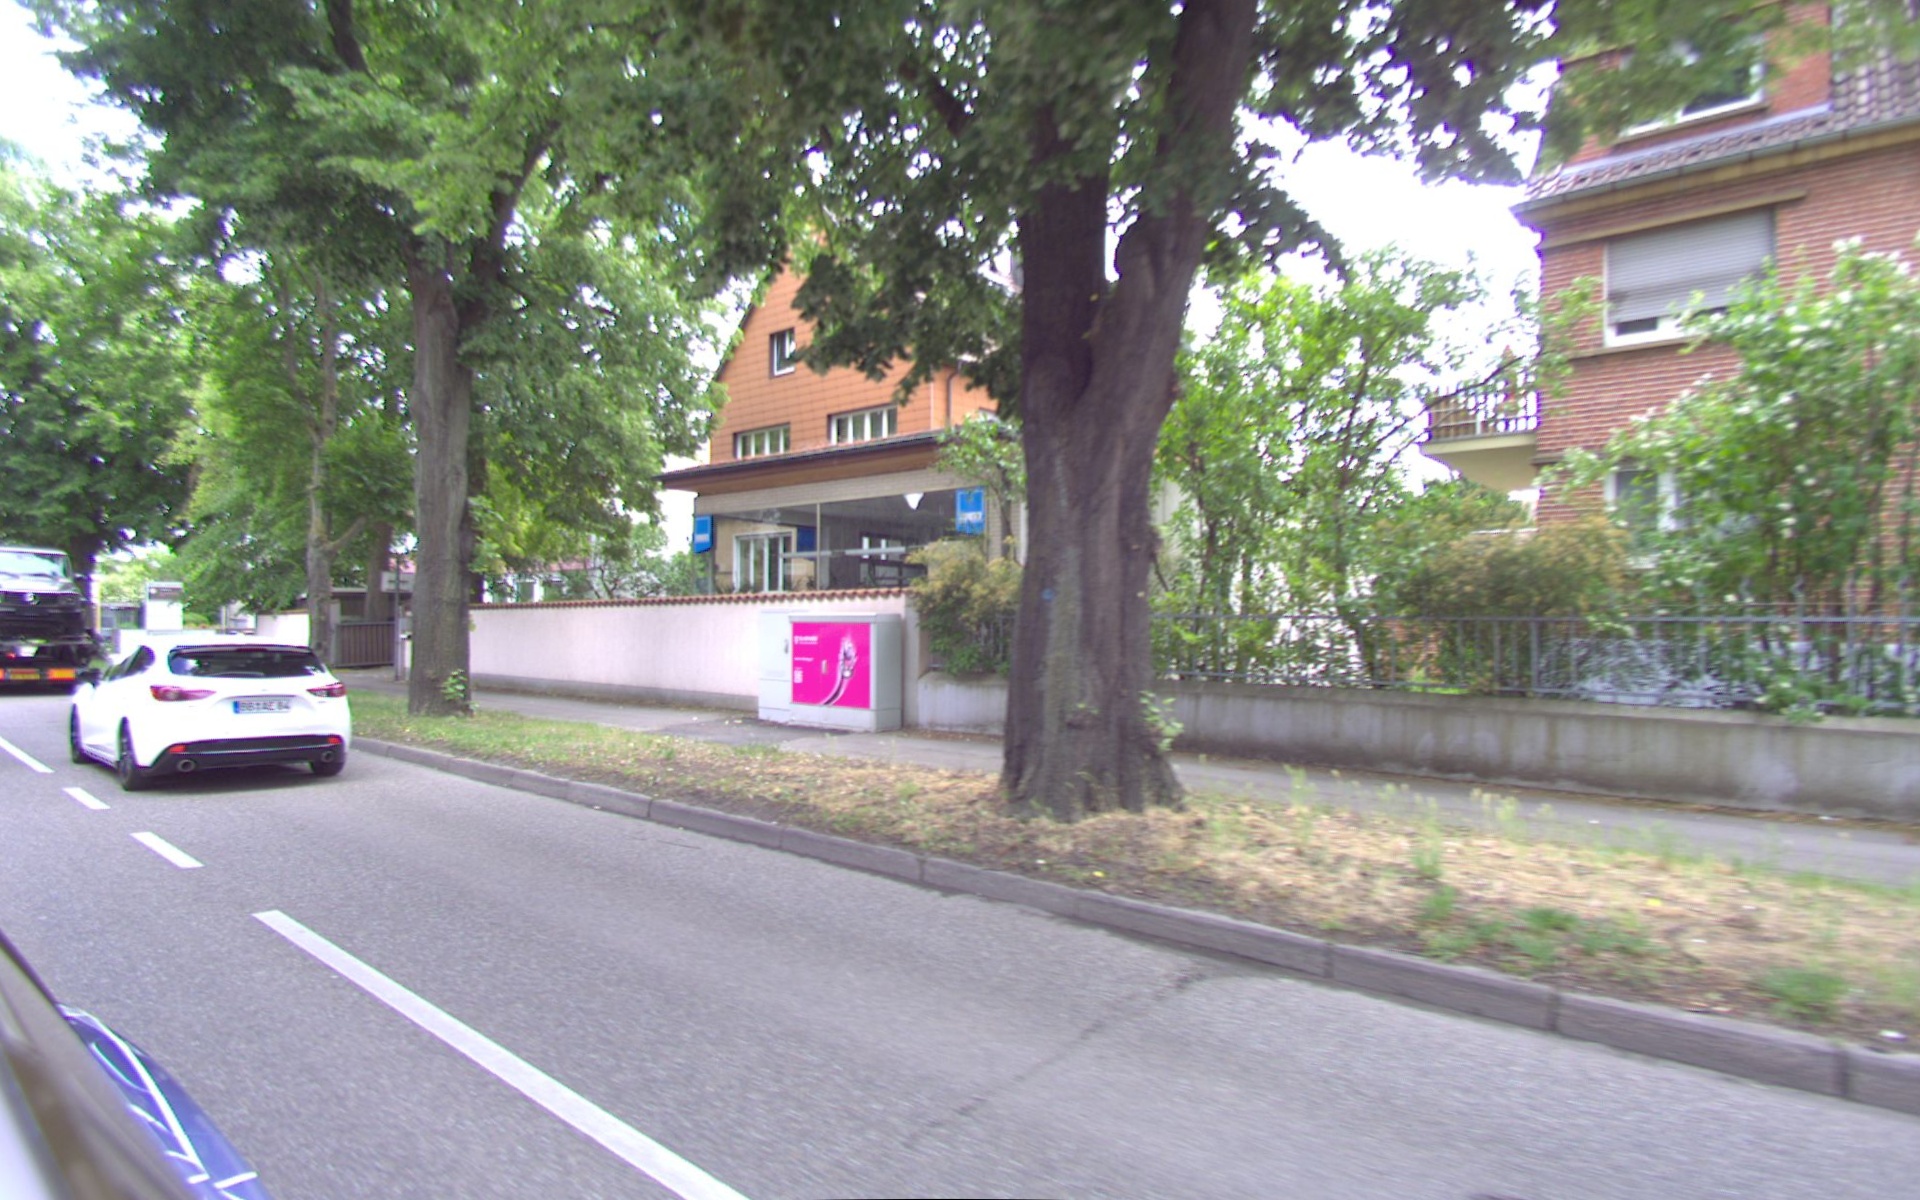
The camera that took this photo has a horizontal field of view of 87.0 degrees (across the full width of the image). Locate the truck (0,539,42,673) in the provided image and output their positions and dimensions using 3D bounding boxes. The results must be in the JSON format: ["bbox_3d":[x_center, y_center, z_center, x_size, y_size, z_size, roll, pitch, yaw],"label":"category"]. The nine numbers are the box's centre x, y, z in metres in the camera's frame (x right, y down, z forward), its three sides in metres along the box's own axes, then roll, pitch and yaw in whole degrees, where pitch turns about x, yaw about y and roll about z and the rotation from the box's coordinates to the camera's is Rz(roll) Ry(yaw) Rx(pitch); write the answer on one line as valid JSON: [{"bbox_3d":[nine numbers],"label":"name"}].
[{"bbox_3d":[-30.543,0.206,31.011,7.667,3.811,2.813,-1,0,42],"label":"truck"}]

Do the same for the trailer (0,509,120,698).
[{"bbox_3d":[-24.541,0.130,25.689,14.385,3.837,2.828,-1,0,42],"label":"trailer"}]

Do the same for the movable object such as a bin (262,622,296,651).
[{"bbox_3d":[-35.767,1.884,53.126,0.992,1.476,1.285,-1,0,41],"label":"movable object such as a bin"}]
